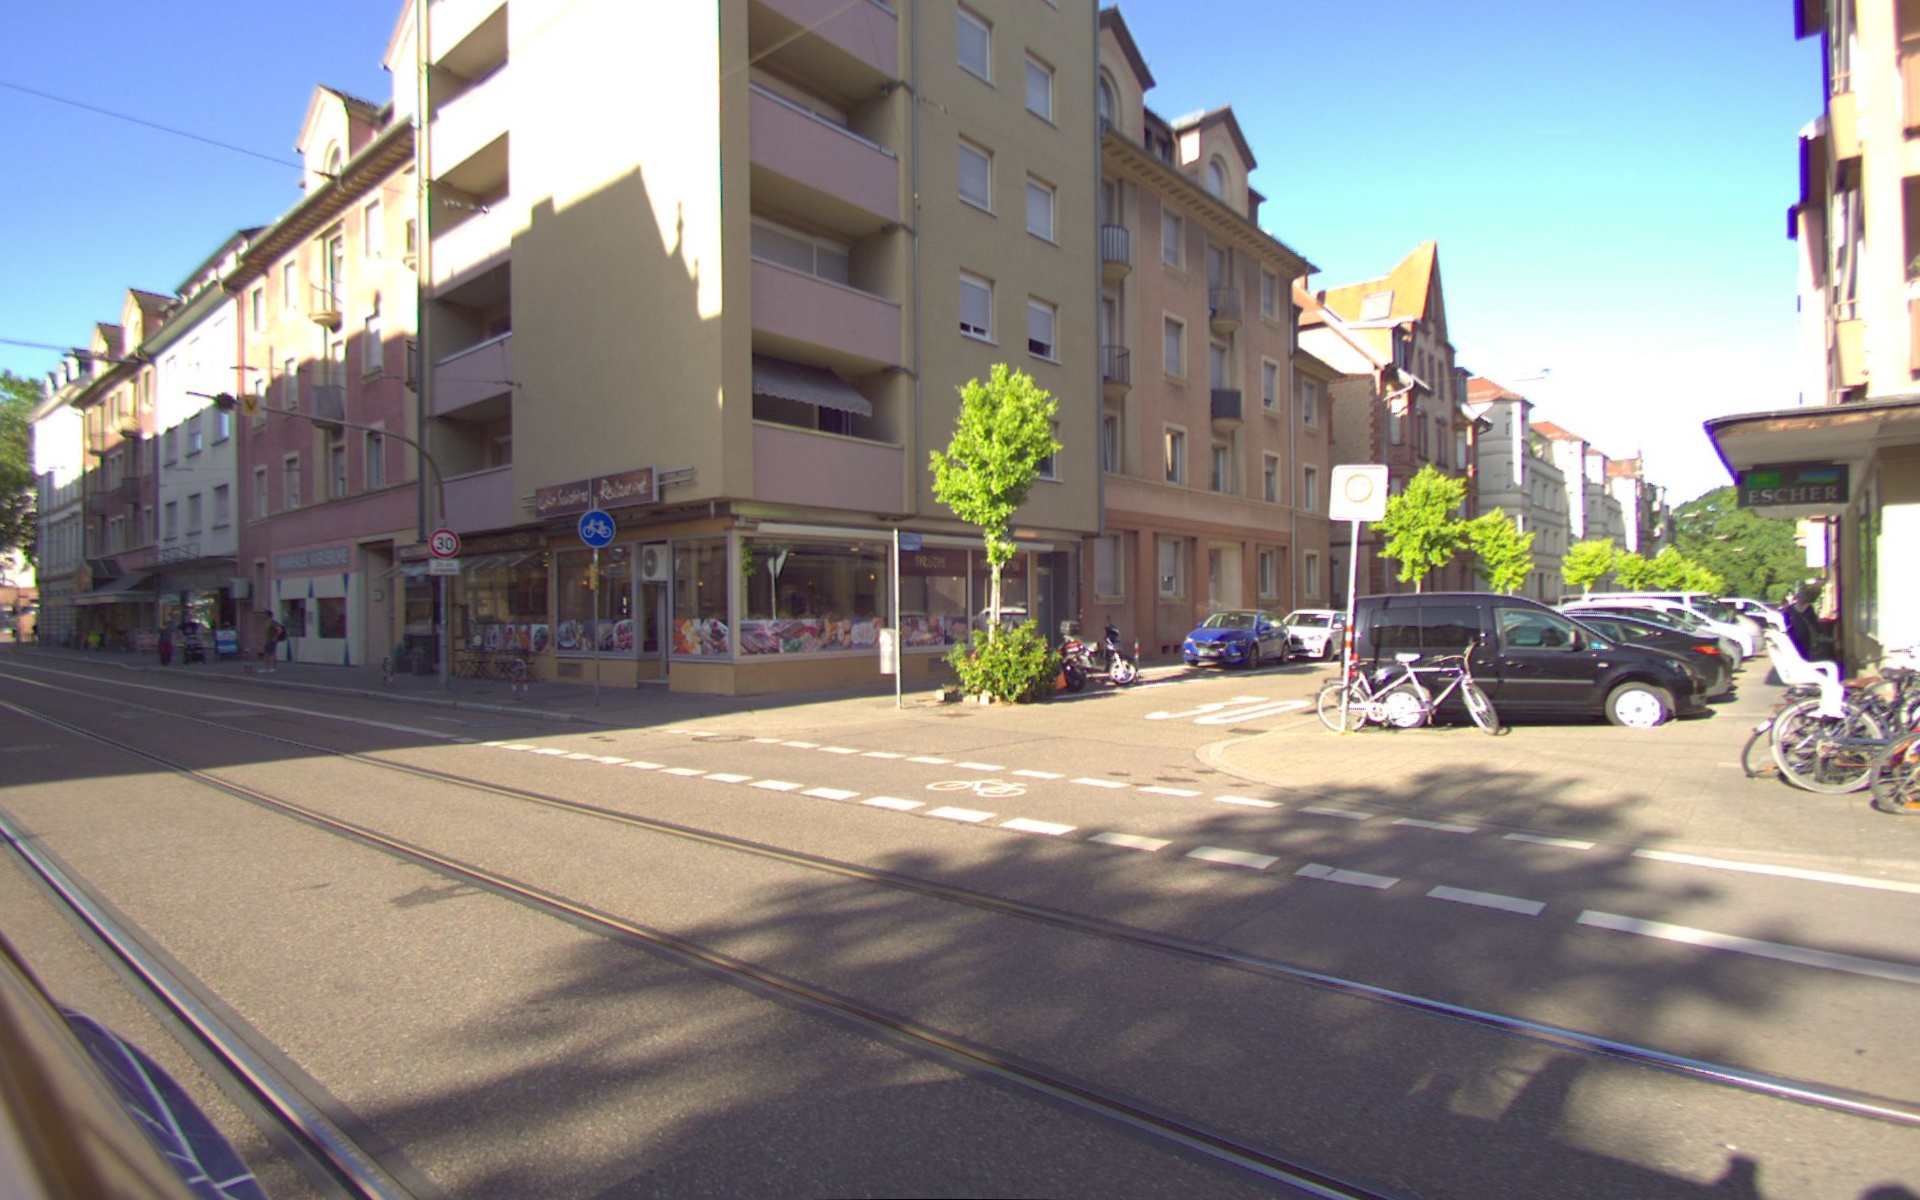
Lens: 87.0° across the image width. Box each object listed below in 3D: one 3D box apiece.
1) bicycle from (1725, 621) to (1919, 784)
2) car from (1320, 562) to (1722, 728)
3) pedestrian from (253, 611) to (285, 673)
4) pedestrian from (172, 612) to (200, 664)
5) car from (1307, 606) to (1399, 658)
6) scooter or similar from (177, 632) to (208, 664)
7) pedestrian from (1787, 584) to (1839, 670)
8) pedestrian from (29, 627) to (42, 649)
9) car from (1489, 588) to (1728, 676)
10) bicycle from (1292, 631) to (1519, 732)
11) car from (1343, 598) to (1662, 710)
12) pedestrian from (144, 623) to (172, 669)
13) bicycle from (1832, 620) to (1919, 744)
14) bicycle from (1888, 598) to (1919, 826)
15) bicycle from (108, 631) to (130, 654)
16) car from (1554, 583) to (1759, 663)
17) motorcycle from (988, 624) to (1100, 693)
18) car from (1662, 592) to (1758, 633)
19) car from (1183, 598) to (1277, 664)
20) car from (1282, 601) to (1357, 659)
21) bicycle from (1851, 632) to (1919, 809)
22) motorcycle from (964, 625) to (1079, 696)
[{"bbox_3d":[7.471,0.756,8.044,2.396,1.118,0.685,-3,-1,-9],"label":"bicycle"},{"bbox_3d":[7.180,0.666,13.560,4.324,1.831,1.837,-4,-4,20],"label":"car"},{"bbox_3d":[-19.538,1.174,28.613,0.616,1.698,0.557,-1,0,39],"label":"pedestrian"},{"bbox_3d":[-27.752,1.357,36.277,0.820,1.803,0.619,-1,0,40],"label":"pedestrian"},{"bbox_3d":[13.032,1.002,33.431,1.793,1.522,3.821,-1,0,38],"label":"car"},{"bbox_3d":[-26.859,1.682,35.426,1.104,1.069,0.655,-2,0,41],"label":"scooter or similar"},{"bbox_3d":[16.994,0.534,20.161,0.764,1.673,0.490,-1,0,42],"label":"pedestrian"},{"bbox_3d":[-81.209,3.322,88.881,0.809,1.861,0.784,-1,0,44],"label":"pedestrian"},{"bbox_3d":[14.076,0.683,22.157,3.951,1.568,1.688,-4,-1,6],"label":"car"},{"bbox_3d":[5.449,1.005,12.476,2.429,1.118,0.676,-4,-2,34],"label":"bicycle"},{"bbox_3d":[8.382,0.822,16.007,3.957,1.403,1.843,-4,-1,11],"label":"car"},{"bbox_3d":[-27.911,1.595,35.222,0.623,1.560,0.629,-1,0,40],"label":"pedestrian"},{"bbox_3d":[9.188,0.742,9.227,1.823,1.118,0.401,-1,-1,20],"label":"bicycle"},{"bbox_3d":[6.727,0.597,5.436,2.431,1.329,0.675,-4,-2,37],"label":"bicycle"},{"bbox_3d":[-40.654,2.043,48.914,2.328,1.067,0.420,-1,0,41],"label":"bicycle"},{"bbox_3d":[18.088,0.591,26.436,3.951,1.727,1.688,-4,-1,6],"label":"car"},{"bbox_3d":[1.572,1.077,19.257,2.175,1.218,0.613,-1,0,41],"label":"motorcycle"},{"bbox_3d":[37.816,0.620,51.101,3.527,1.998,1.503,-1,0,10],"label":"car"},{"bbox_3d":[7.050,0.742,26.186,1.785,1.522,3.839,-1,0,24],"label":"car"},{"bbox_3d":[10.594,0.833,29.644,1.785,1.522,3.839,-1,0,24],"label":"car"},{"bbox_3d":[7.205,0.753,6.650,1.867,1.132,0.681,-3,-2,10],"label":"bicycle"},{"bbox_3d":[1.100,1.077,18.628,2.175,1.218,0.613,-1,0,41],"label":"motorcycle"}]
